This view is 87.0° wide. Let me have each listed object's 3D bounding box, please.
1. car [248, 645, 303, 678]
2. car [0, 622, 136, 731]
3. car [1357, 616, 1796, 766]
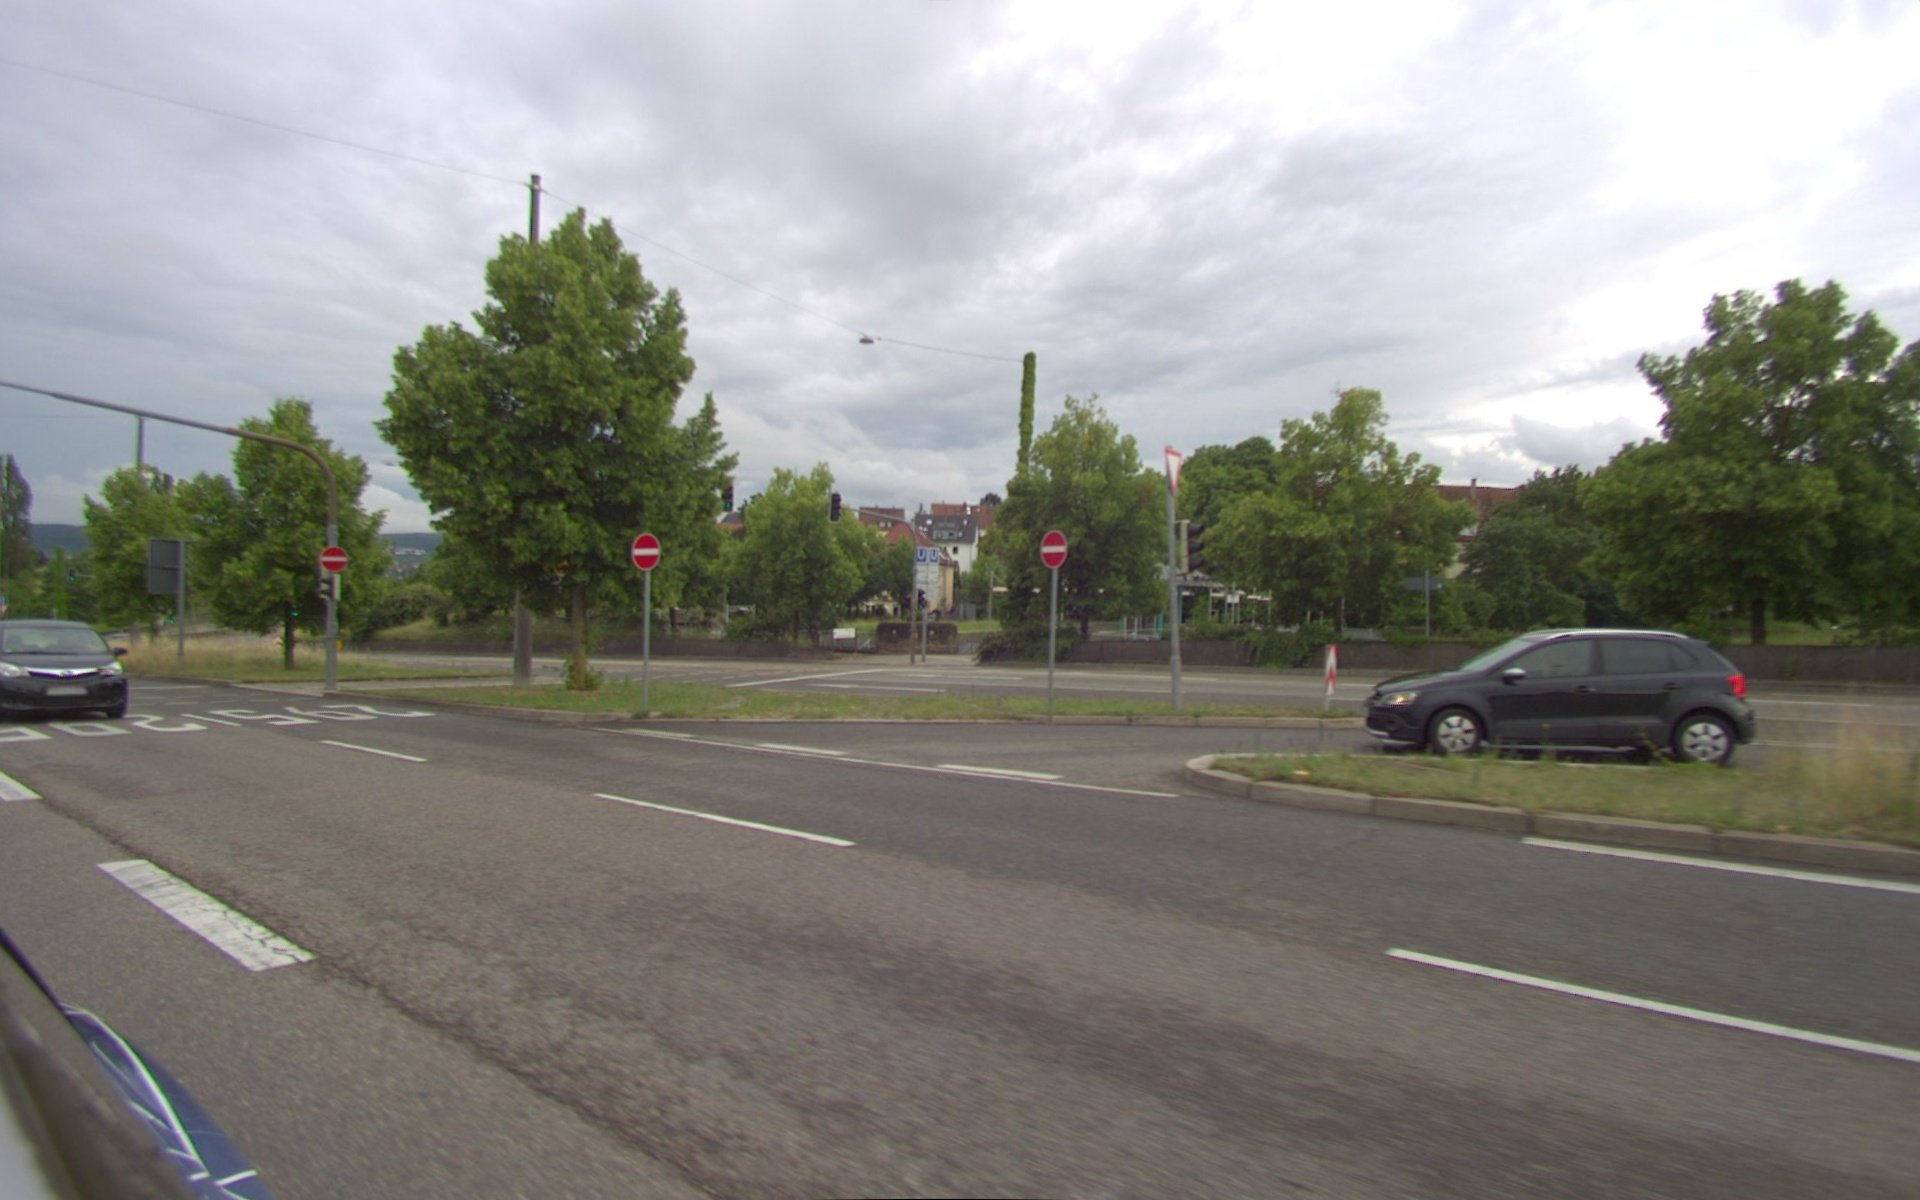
[{"bbox_3d":[-44.721,3.978,66.104,3.998,2.029,1.973,-2,-3,41],"label":"car"},{"bbox_3d":[-14.970,1.205,16.487,4.042,1.577,1.777,-3,-3,42],"label":"car"},{"bbox_3d":[6.875,0.969,11.816,3.964,1.519,1.886,0,-2,16],"label":"car"}]
